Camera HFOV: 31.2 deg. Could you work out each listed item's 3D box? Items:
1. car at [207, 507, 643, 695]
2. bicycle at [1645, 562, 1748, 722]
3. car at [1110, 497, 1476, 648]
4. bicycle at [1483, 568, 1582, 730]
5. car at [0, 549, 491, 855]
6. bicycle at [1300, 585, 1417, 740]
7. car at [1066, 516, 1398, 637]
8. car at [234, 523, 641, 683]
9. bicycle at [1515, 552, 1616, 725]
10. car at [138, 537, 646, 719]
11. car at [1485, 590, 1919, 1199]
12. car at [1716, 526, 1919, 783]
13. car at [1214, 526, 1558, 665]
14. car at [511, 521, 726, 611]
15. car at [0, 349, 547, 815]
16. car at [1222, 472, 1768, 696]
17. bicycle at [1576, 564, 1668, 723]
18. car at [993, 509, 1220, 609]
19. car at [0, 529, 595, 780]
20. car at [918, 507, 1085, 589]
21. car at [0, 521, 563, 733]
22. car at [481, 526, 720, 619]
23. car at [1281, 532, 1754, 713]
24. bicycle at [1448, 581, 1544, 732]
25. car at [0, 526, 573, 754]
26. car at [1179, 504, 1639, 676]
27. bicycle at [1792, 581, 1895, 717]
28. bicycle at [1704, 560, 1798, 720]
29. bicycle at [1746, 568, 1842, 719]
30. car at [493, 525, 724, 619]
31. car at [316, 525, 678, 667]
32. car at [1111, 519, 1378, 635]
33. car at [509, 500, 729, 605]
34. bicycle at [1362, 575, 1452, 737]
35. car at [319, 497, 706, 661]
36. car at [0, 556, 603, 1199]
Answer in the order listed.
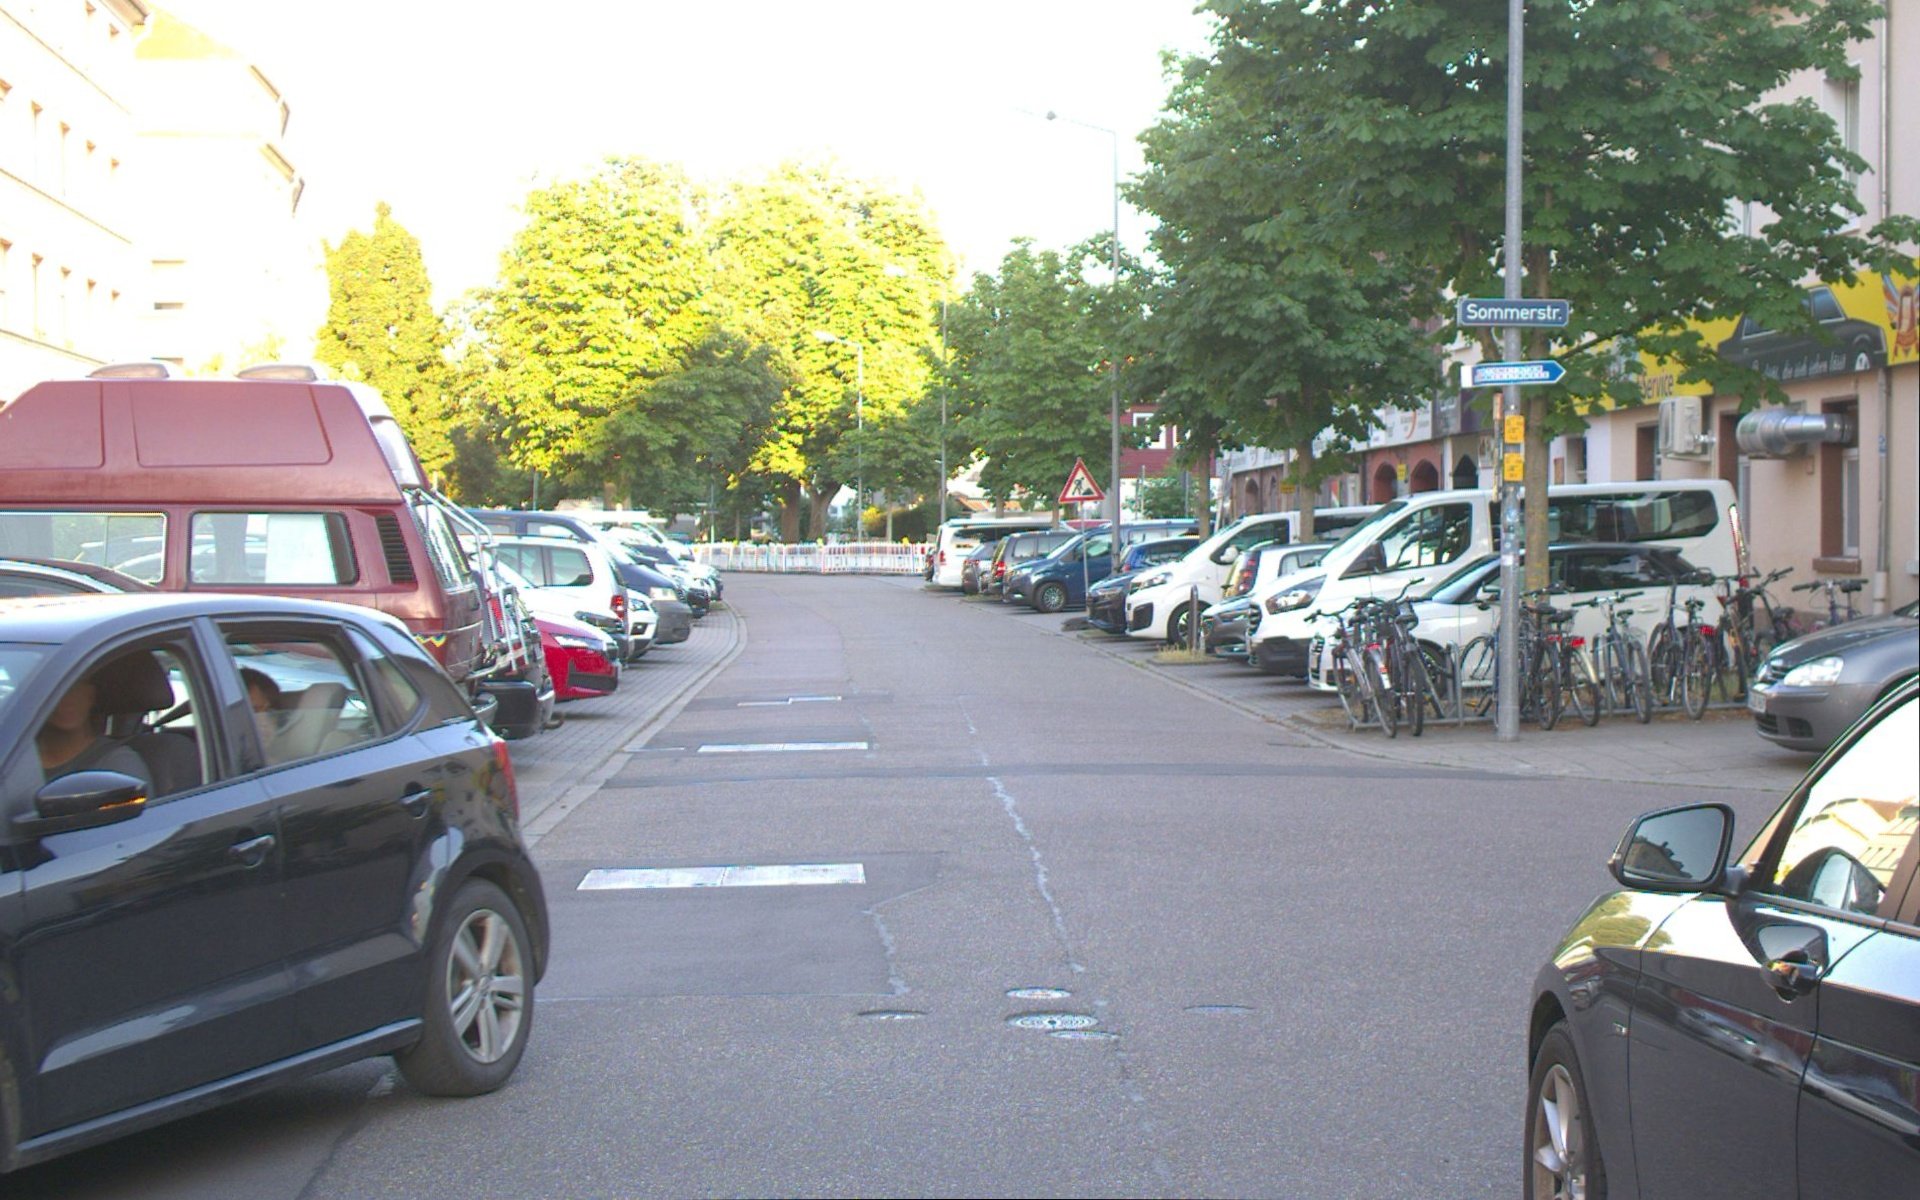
[{"bbox_3d":[-5.547,-0.011,36.058,4.256,1.830,2.000,1,1,-1],"label":"car"},{"bbox_3d":[5.783,0.315,27.053,0.445,1.196,1.481,-1,1,-1],"label":"bicycle"},{"bbox_3d":[4.742,-0.413,49.444,4.943,1.951,2.049,-2,1,-3],"label":"car"},{"bbox_3d":[4.519,0.365,27.217,0.386,1.196,2.017,-1,1,-1],"label":"bicycle"},{"bbox_3d":[-4.833,0.476,17.896,4.615,1.455,1.881,1,1,-4],"label":"car"},{"bbox_3d":[3.111,0.466,26.995,0.438,1.126,2.018,-1,1,-7],"label":"bicycle"},{"bbox_3d":[4.253,-0.384,54.237,4.943,1.683,2.077,-2,1,-3],"label":"car"},{"bbox_3d":[-5.795,0.012,38.529,4.256,1.654,2.000,1,1,-1],"label":"car"},{"bbox_3d":[4.779,0.278,27.228,0.386,1.300,2.017,-1,1,-1],"label":"bicycle"},{"bbox_3d":[-4.996,0.226,30.648,4.209,1.484,1.850,1,1,-1],"label":"car"},{"bbox_3d":[2.001,0.749,4.903,1.721,1.419,4.254,1,1,-2],"label":"car"},{"bbox_3d":[7.099,0.287,22.144,4.050,1.509,1.756,-1,3,0],"label":"car"},{"bbox_3d":[5.173,-0.071,42.125,3.911,1.521,1.939,-2,1,0],"label":"car"},{"bbox_3d":[-7.049,-0.720,71.288,4.256,1.743,2.000,1,1,-1],"label":"car"},{"bbox_3d":[-4.862,-0.138,20.463,4.511,2.575,2.000,1,1,0],"label":"car"},{"bbox_3d":[5.230,-0.177,34.144,4.989,1.976,2.220,-2,1,-1],"label":"car"},{"bbox_3d":[5.204,0.328,27.078,0.386,1.196,1.481,-1,1,-1],"label":"bicycle"},{"bbox_3d":[3.045,-0.870,71.797,4.478,1.905,1.688,-2,1,-6],"label":"car"},{"bbox_3d":[-4.627,0.333,23.044,4.208,1.532,1.791,1,1,-3],"label":"car"},{"bbox_3d":[1.037,-1.327,87.268,3.967,1.905,2.050,-2,1,-6],"label":"car"},{"bbox_3d":[-5.411,0.191,27.859,4.208,1.570,2.000,1,1,-3],"label":"car"},{"bbox_3d":[-6.631,-0.521,63.781,4.256,1.616,2.000,1,1,-2],"label":"car"},{"bbox_3d":[5.032,0.179,31.360,3.918,1.446,1.769,-2,1,-3],"label":"car"},{"bbox_3d":[4.234,0.423,27.228,0.386,1.110,2.017,-1,1,-1],"label":"bicycle"},{"bbox_3d":[-5.154,0.262,25.603,4.210,1.532,1.842,1,1,5],"label":"car"},{"bbox_3d":[5.084,-0.133,39.408,4.944,1.736,2.049,-2,1,0],"label":"car"},{"bbox_3d":[6.977,0.370,27.186,0.387,1.013,1.481,-1,1,-1],"label":"bicycle"},{"bbox_3d":[6.212,0.298,27.048,0.353,1.196,1.481,-1,1,-1],"label":"bicycle"},{"bbox_3d":[6.572,0.328,27.135,0.353,1.139,1.481,-1,1,-1],"label":"bicycle"},{"bbox_3d":[-6.769,-0.555,66.522,4.256,1.709,2.000,1,1,-1],"label":"car"},{"bbox_3d":[-5.724,-0.068,42.885,4.256,1.646,1.888,1,1,-1],"label":"car"},{"bbox_3d":[4.860,-0.409,59.156,4.316,1.798,1.811,-2,1,-3],"label":"car"},{"bbox_3d":[-7.299,-1.023,73.917,4.533,2.127,2.000,1,1,-1],"label":"car"},{"bbox_3d":[3.524,0.418,27.186,0.386,1.196,2.017,-1,1,-1],"label":"bicycle"},{"bbox_3d":[-5.862,-0.291,45.436,4.850,2.014,1.907,1,1,-1],"label":"car"},{"bbox_3d":[-2.515,0.702,8.206,1.654,1.450,3.938,-2,1,21],"label":"car"}]
